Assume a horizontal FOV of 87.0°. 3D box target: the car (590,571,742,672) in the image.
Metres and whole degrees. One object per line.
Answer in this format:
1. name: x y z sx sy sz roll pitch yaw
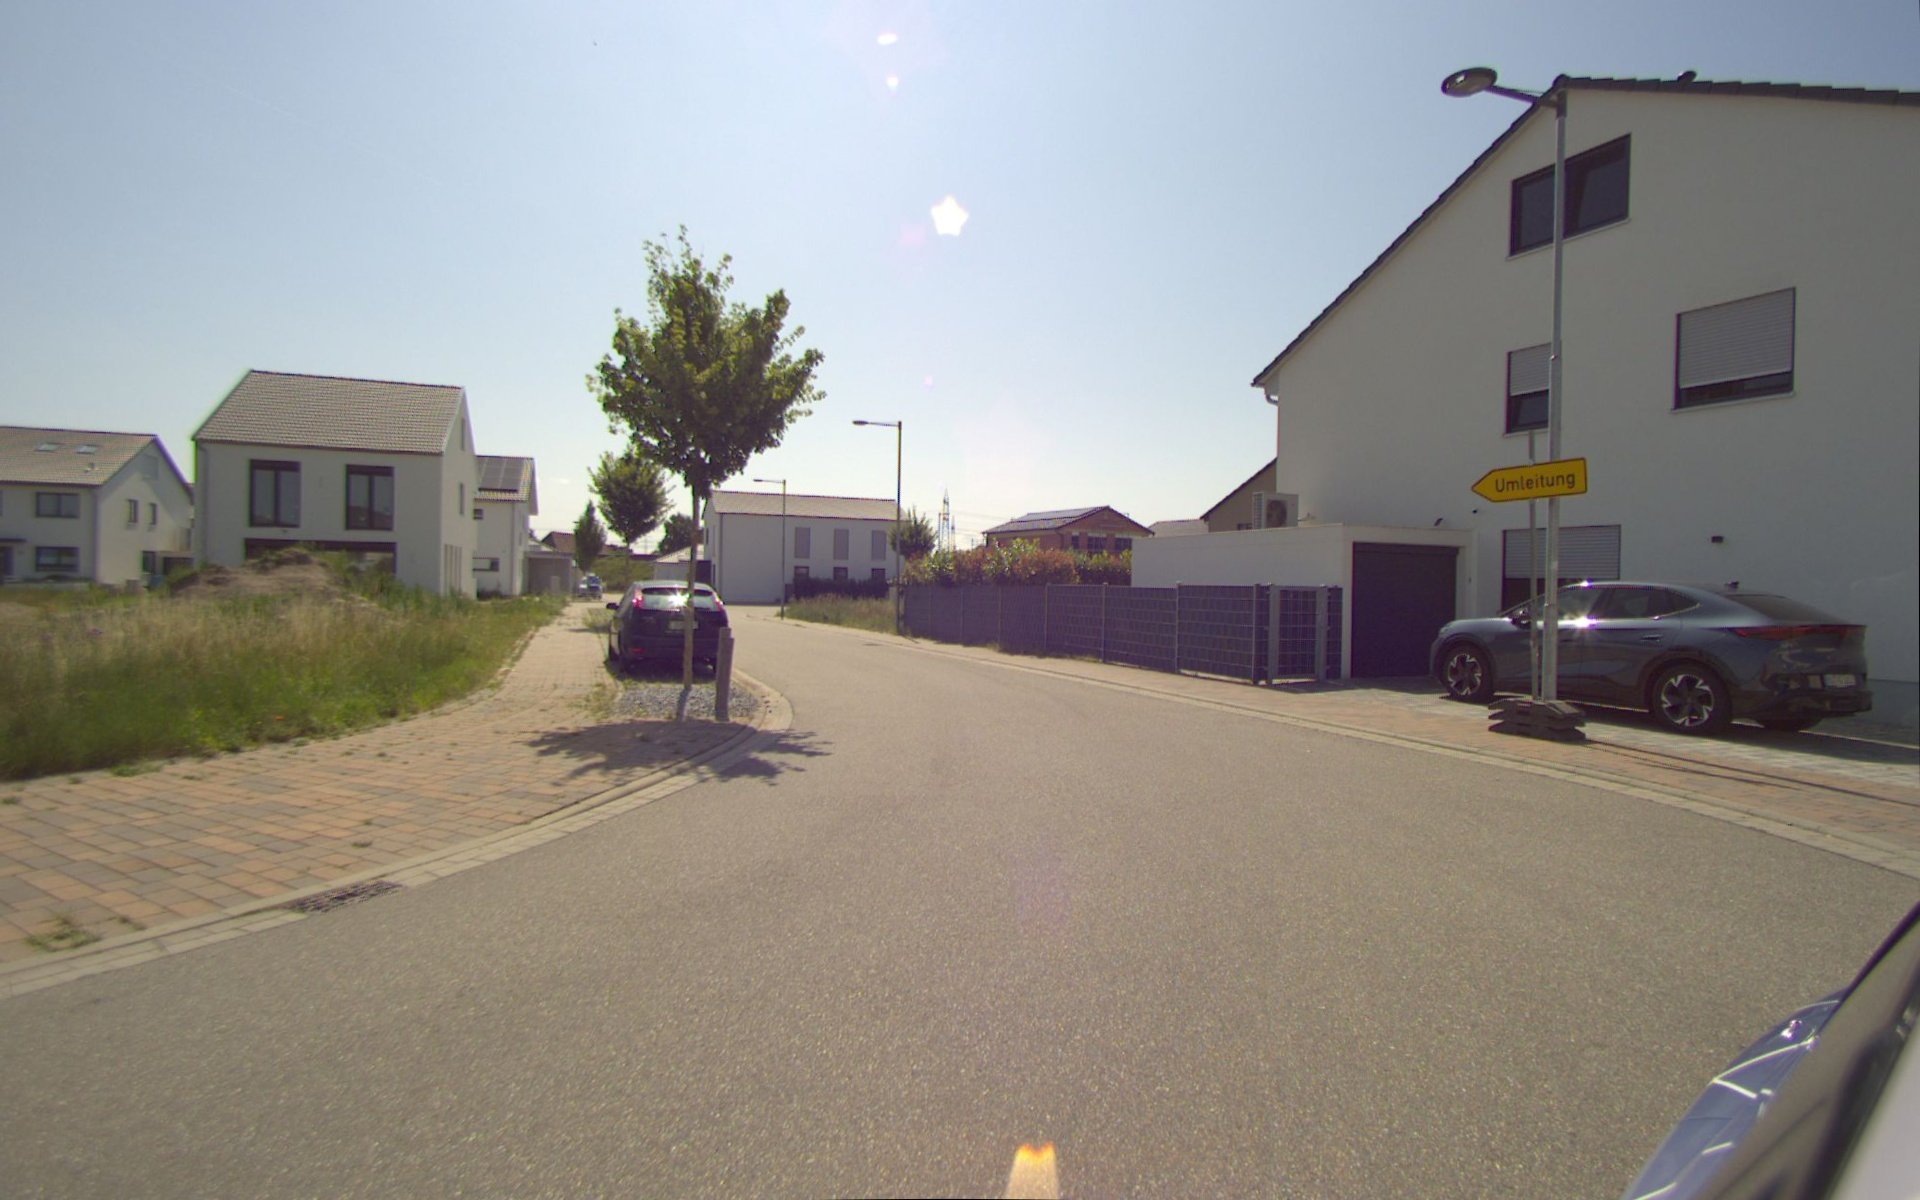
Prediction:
1. car: -5.170 0.293 17.405 1.811 1.512 4.200 -1 1 -26

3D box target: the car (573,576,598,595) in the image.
1. car: -30.893 -1.202 83.440 1.885 1.438 4.430 1 1 -20

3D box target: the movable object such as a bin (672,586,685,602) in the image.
1. movable object such as a bin: -19.442 -0.413 69.869 0.791 1.112 0.673 1 0 -19

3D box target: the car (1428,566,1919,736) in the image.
1. car: 7.932 0.451 11.770 1.919 1.577 4.360 1 1 -22
